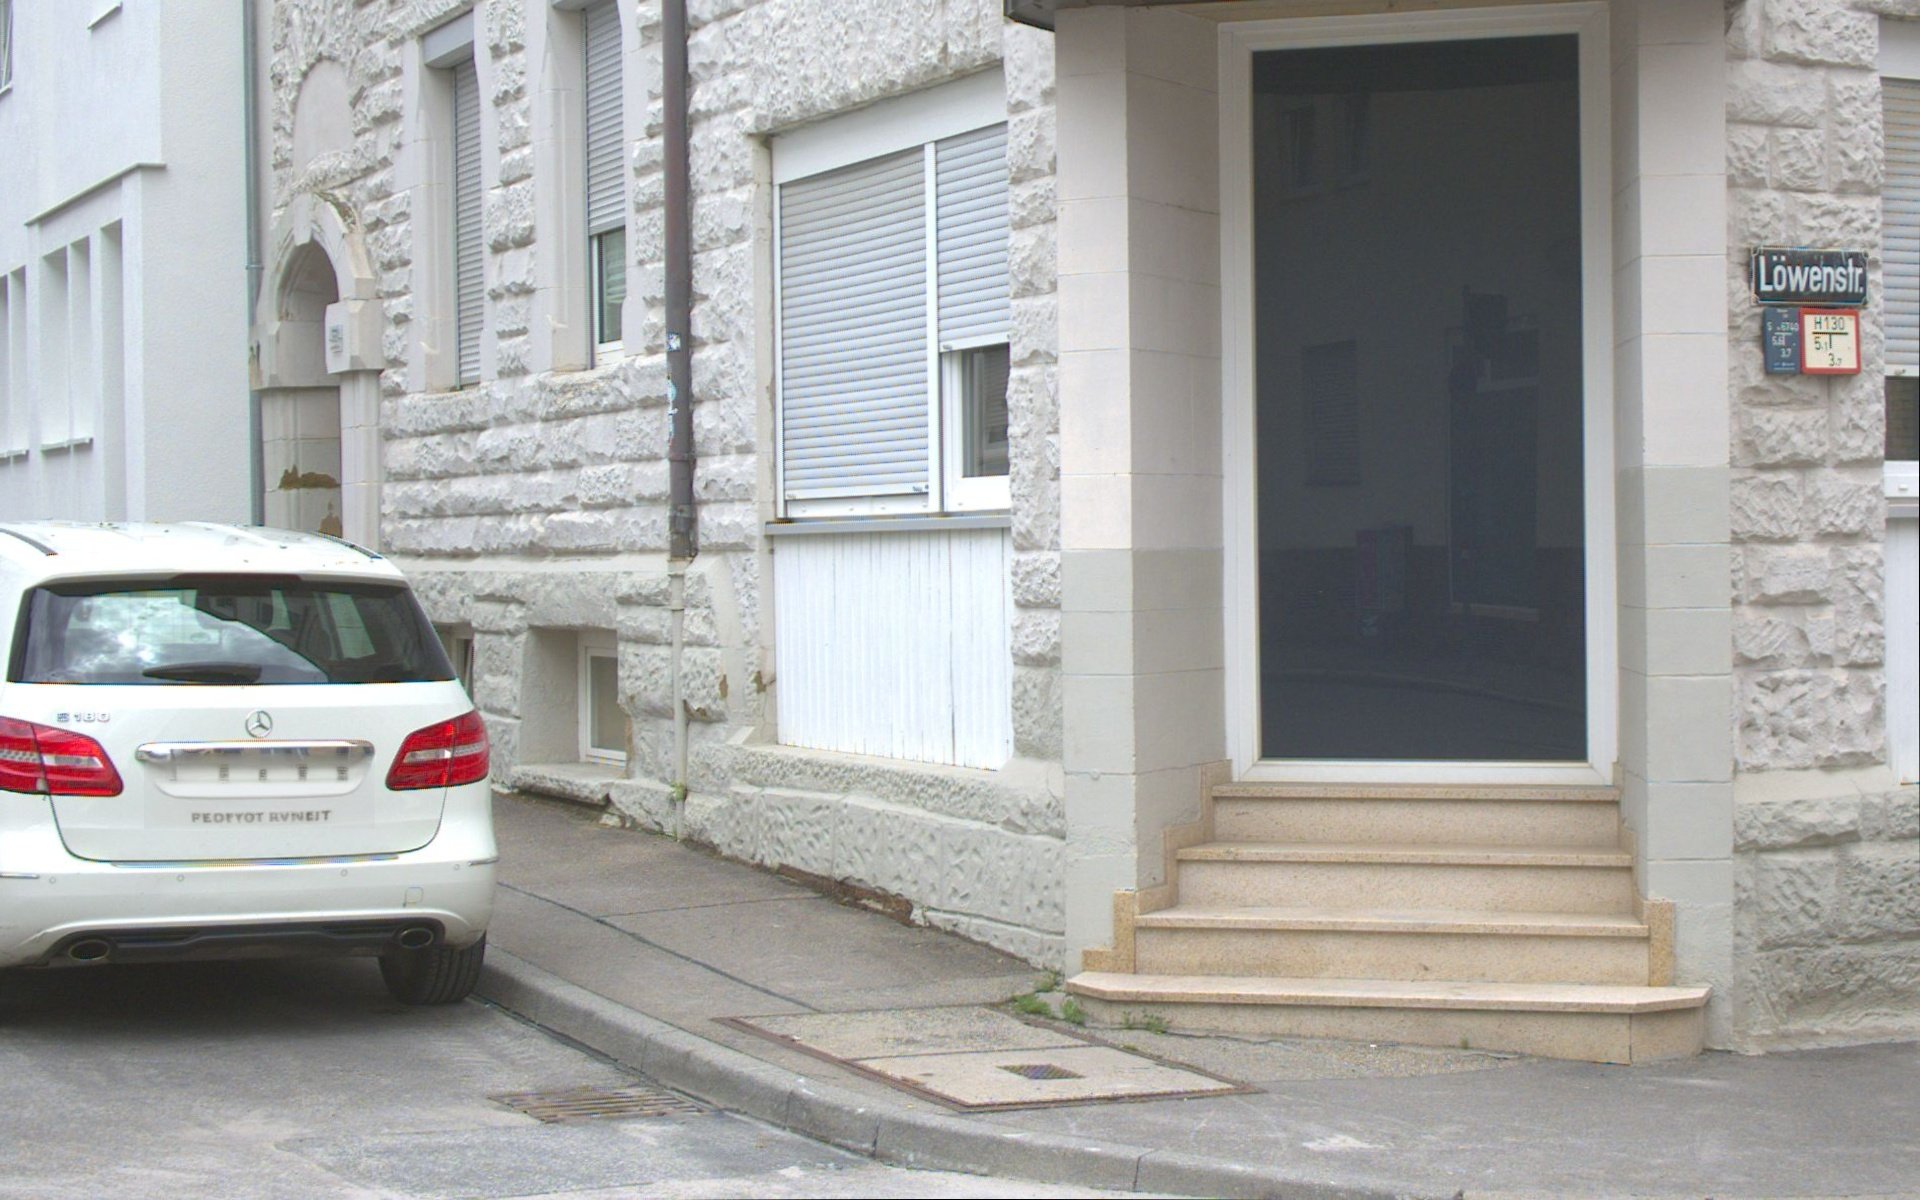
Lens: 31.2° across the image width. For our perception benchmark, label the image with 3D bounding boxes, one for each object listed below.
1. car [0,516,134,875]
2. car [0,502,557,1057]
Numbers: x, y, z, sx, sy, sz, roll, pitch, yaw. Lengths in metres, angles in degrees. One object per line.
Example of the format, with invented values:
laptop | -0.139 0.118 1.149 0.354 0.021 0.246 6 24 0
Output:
car | -5.312 0.347 16.554 1.667 1.527 4.028 1 2 -27
car | -2.983 0.477 11.987 1.820 1.594 4.028 1 1 -27
